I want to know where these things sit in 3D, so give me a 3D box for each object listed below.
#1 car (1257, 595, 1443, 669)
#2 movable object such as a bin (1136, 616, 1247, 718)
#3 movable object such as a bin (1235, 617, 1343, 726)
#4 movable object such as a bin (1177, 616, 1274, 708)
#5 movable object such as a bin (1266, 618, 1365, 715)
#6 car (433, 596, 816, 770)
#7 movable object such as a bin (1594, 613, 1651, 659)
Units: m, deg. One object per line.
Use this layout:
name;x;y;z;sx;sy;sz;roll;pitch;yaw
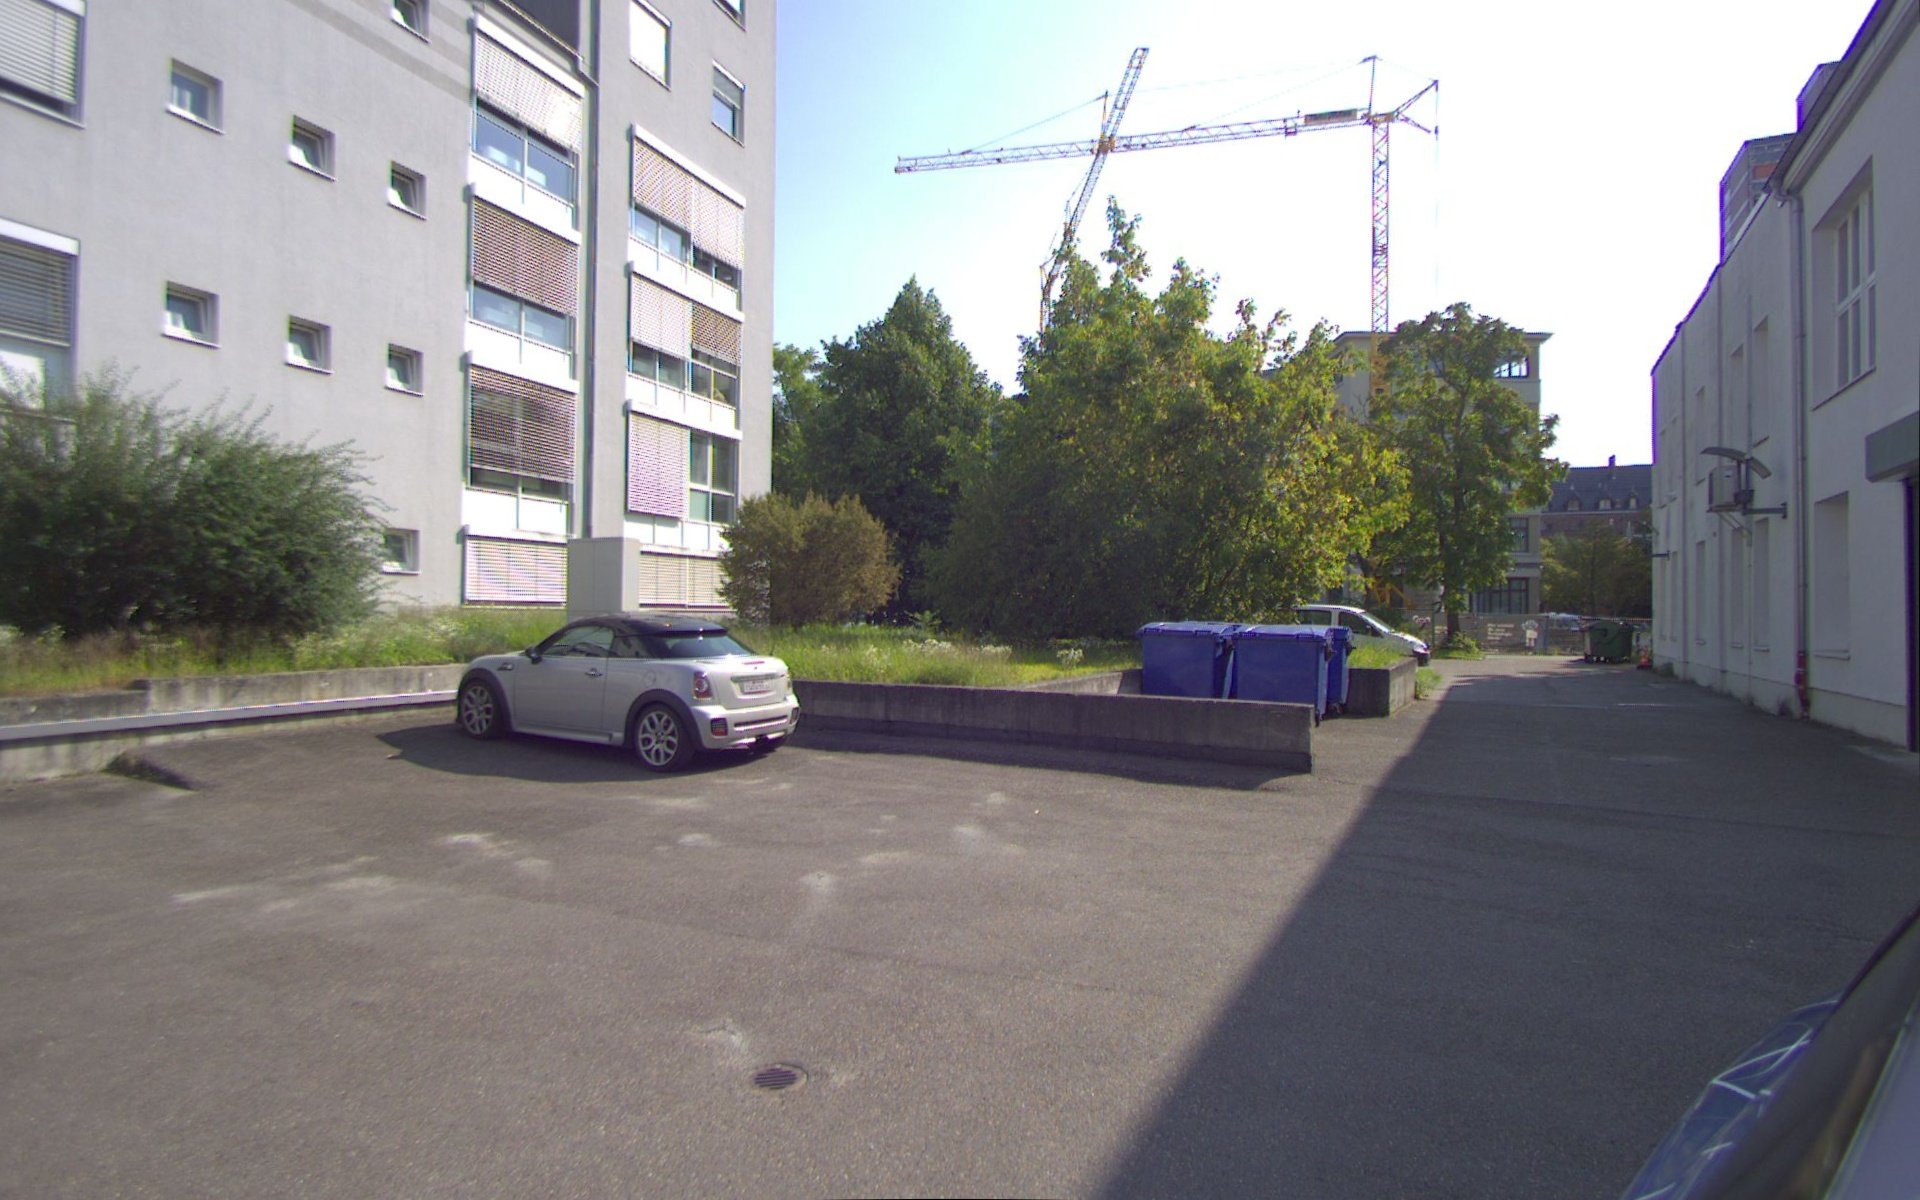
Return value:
car;11.218;0.882;29.222;4.756;1.956;1.887;1;-1;32
movable object such as a bin;3.306;0.907;14.385;1.247;1.344;1.261;0;-1;30
movable object such as a bin;4.456;0.924;13.669;1.203;1.369;1.262;0;-1;28
movable object such as a bin;4.135;0.925;15.702;1.190;1.344;1.261;0;-1;30
movable object such as a bin;5.272;0.947;14.979;1.190;1.344;1.261;0;-1;30
car;-3.397;0.722;10.214;3.546;1.456;1.643;1;-1;27
movable object such as a bin;22.046;1.187;33.724;1.512;1.484;1.261;0;-1;30
